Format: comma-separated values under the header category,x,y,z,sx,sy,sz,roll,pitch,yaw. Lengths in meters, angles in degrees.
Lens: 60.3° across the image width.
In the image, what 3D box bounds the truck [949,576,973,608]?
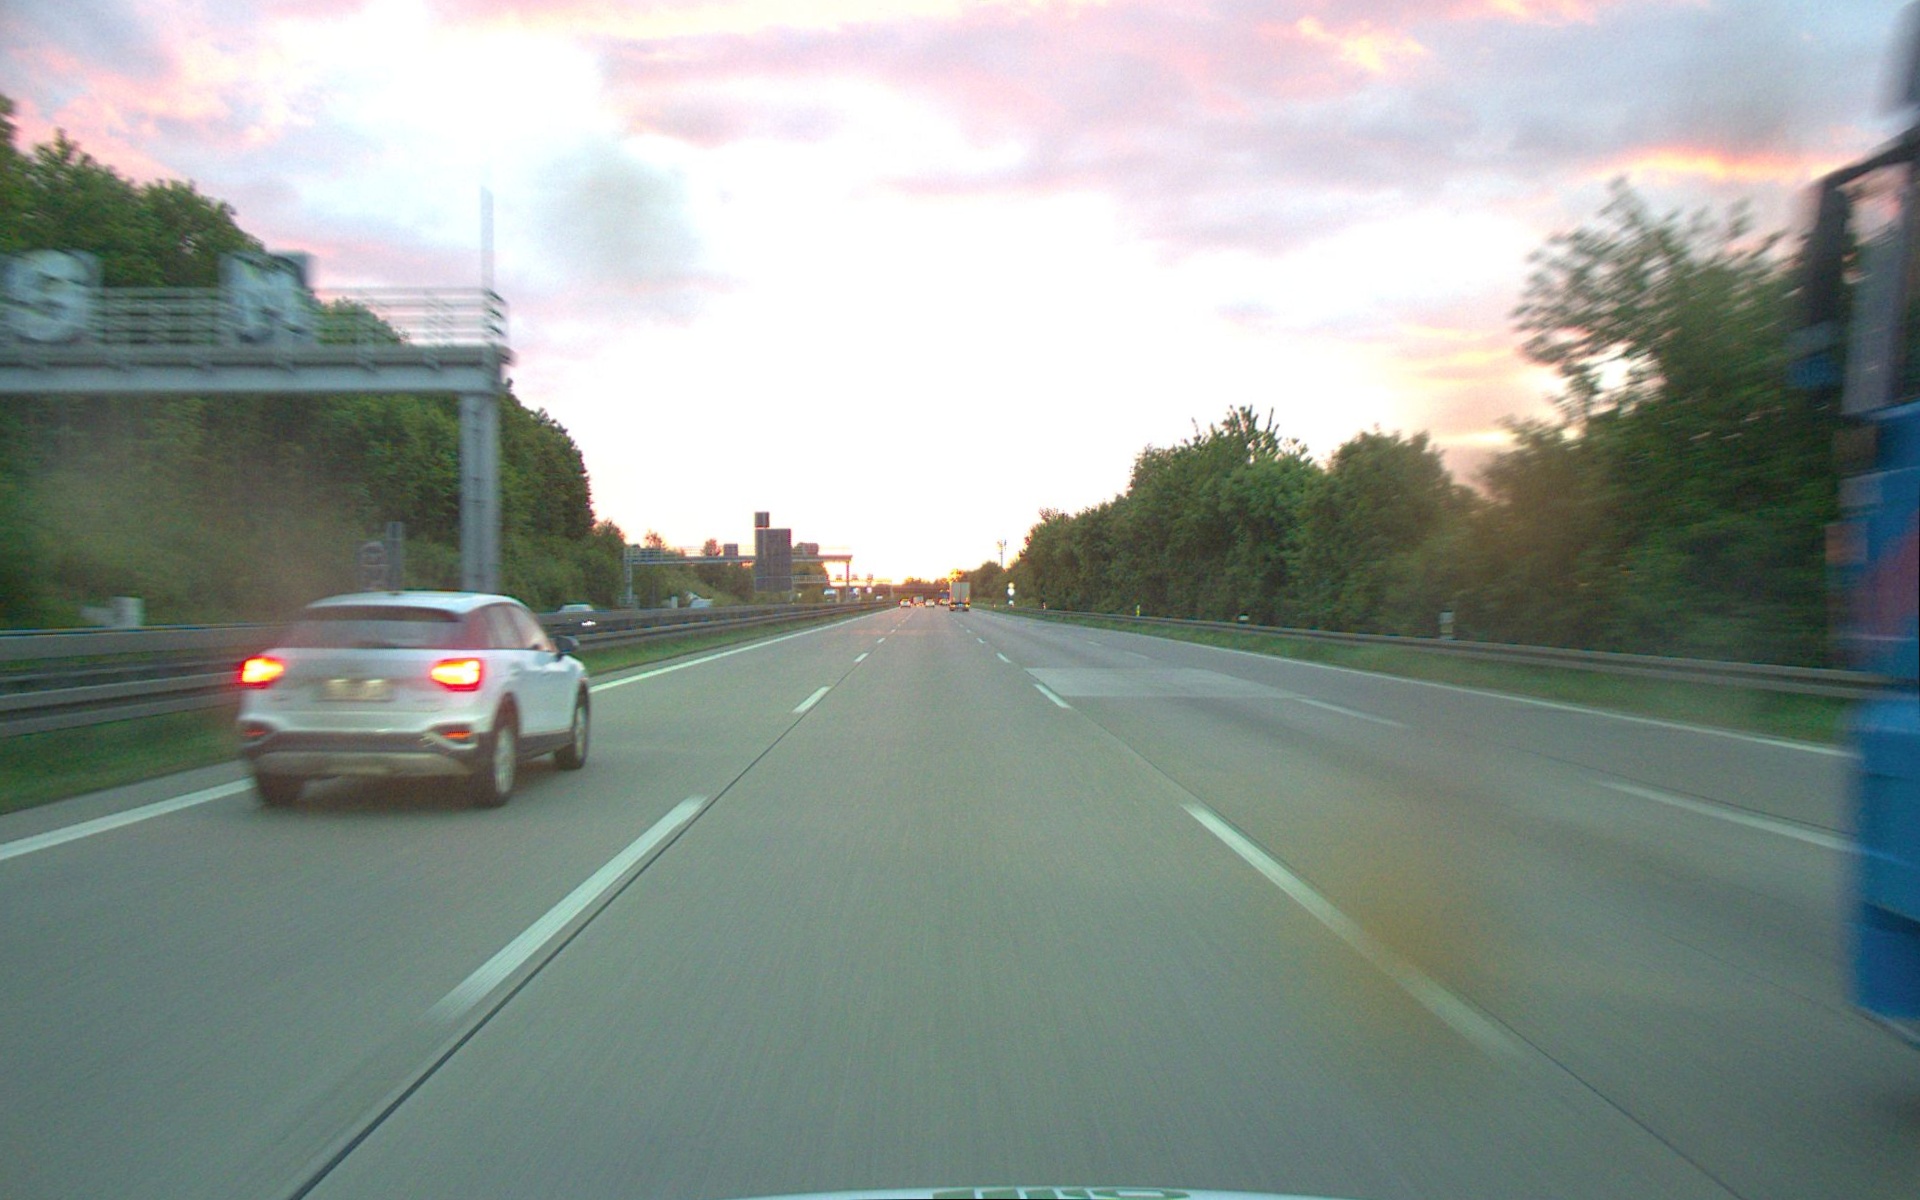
category,x,y,z,sx,sy,sz,roll,pitch,yaw
truck,0.082,-1.060,223.074,3.178,4.199,9.784,-1,0,-1

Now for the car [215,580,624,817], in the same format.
category,x,y,z,sx,sy,sz,roll,pitch,yaw
car,-4.059,0.645,13.384,1.753,1.527,5.036,1,0,-2

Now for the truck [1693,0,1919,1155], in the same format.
category,x,y,z,sx,sy,sz,roll,pitch,yaw
truck,3.947,-0.533,2.915,2.680,4.066,5.848,1,0,0
